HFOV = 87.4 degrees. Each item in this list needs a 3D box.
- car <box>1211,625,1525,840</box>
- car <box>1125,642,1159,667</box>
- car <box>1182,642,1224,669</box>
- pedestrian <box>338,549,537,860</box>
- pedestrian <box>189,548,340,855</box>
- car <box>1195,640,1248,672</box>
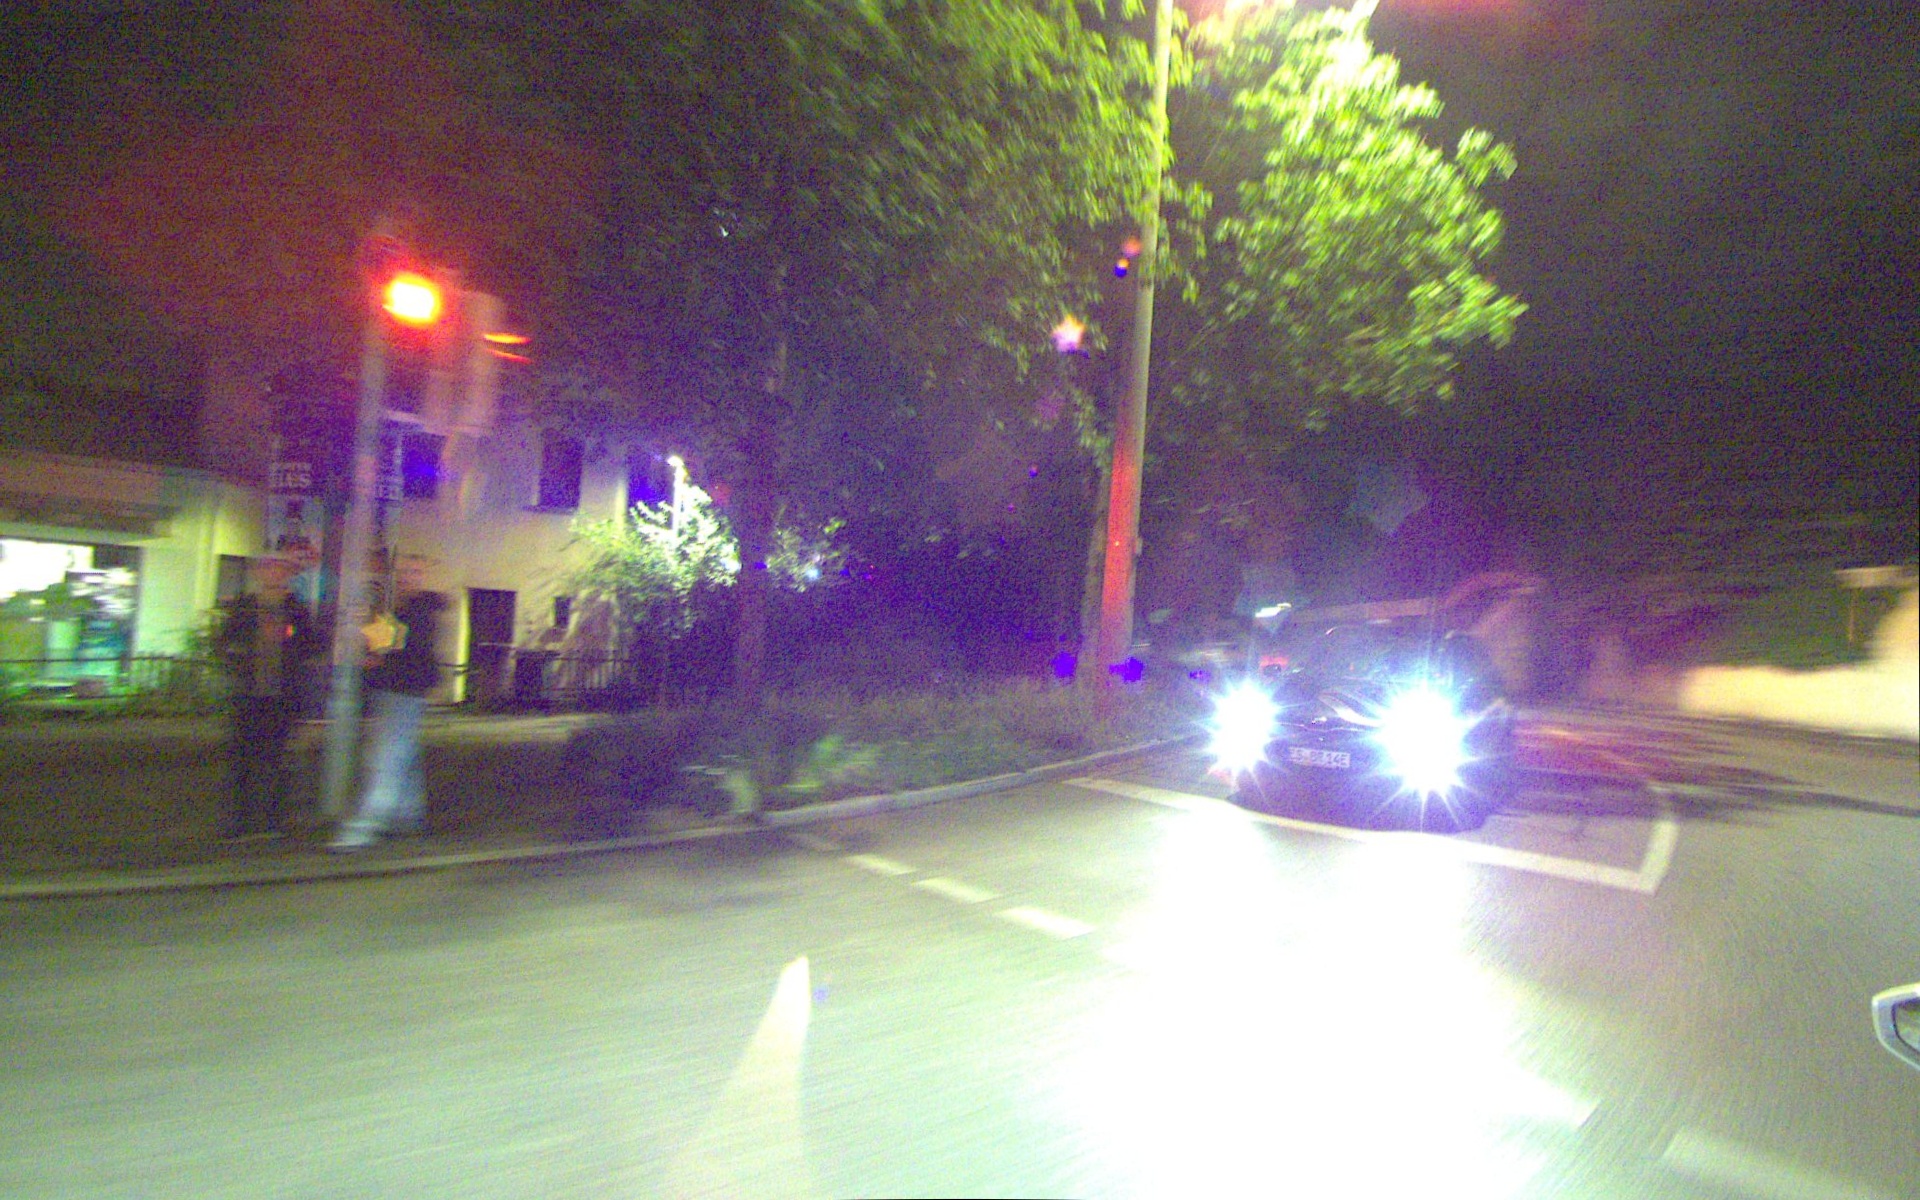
[{"bbox_3d":[3.918,0.992,9.174,1.703,1.448,4.276,1,-1,36],"label":"car"},{"bbox_3d":[14.548,4.315,80.397,1.691,1.783,4.759,6,-3,0],"label":"car"},{"bbox_3d":[15.237,3.449,63.111,1.582,1.480,3.716,3,-1,-1],"label":"car"},{"bbox_3d":[-3.322,0.616,6.396,0.958,1.793,0.720,1,-1,-42],"label":"pedestrian"},{"bbox_3d":[-4.372,0.611,6.356,0.684,1.816,0.520,1,-1,-27],"label":"pedestrian"},{"bbox_3d":[15.219,3.223,58.605,1.727,1.614,4.729,6,-2,0],"label":"car"}]
